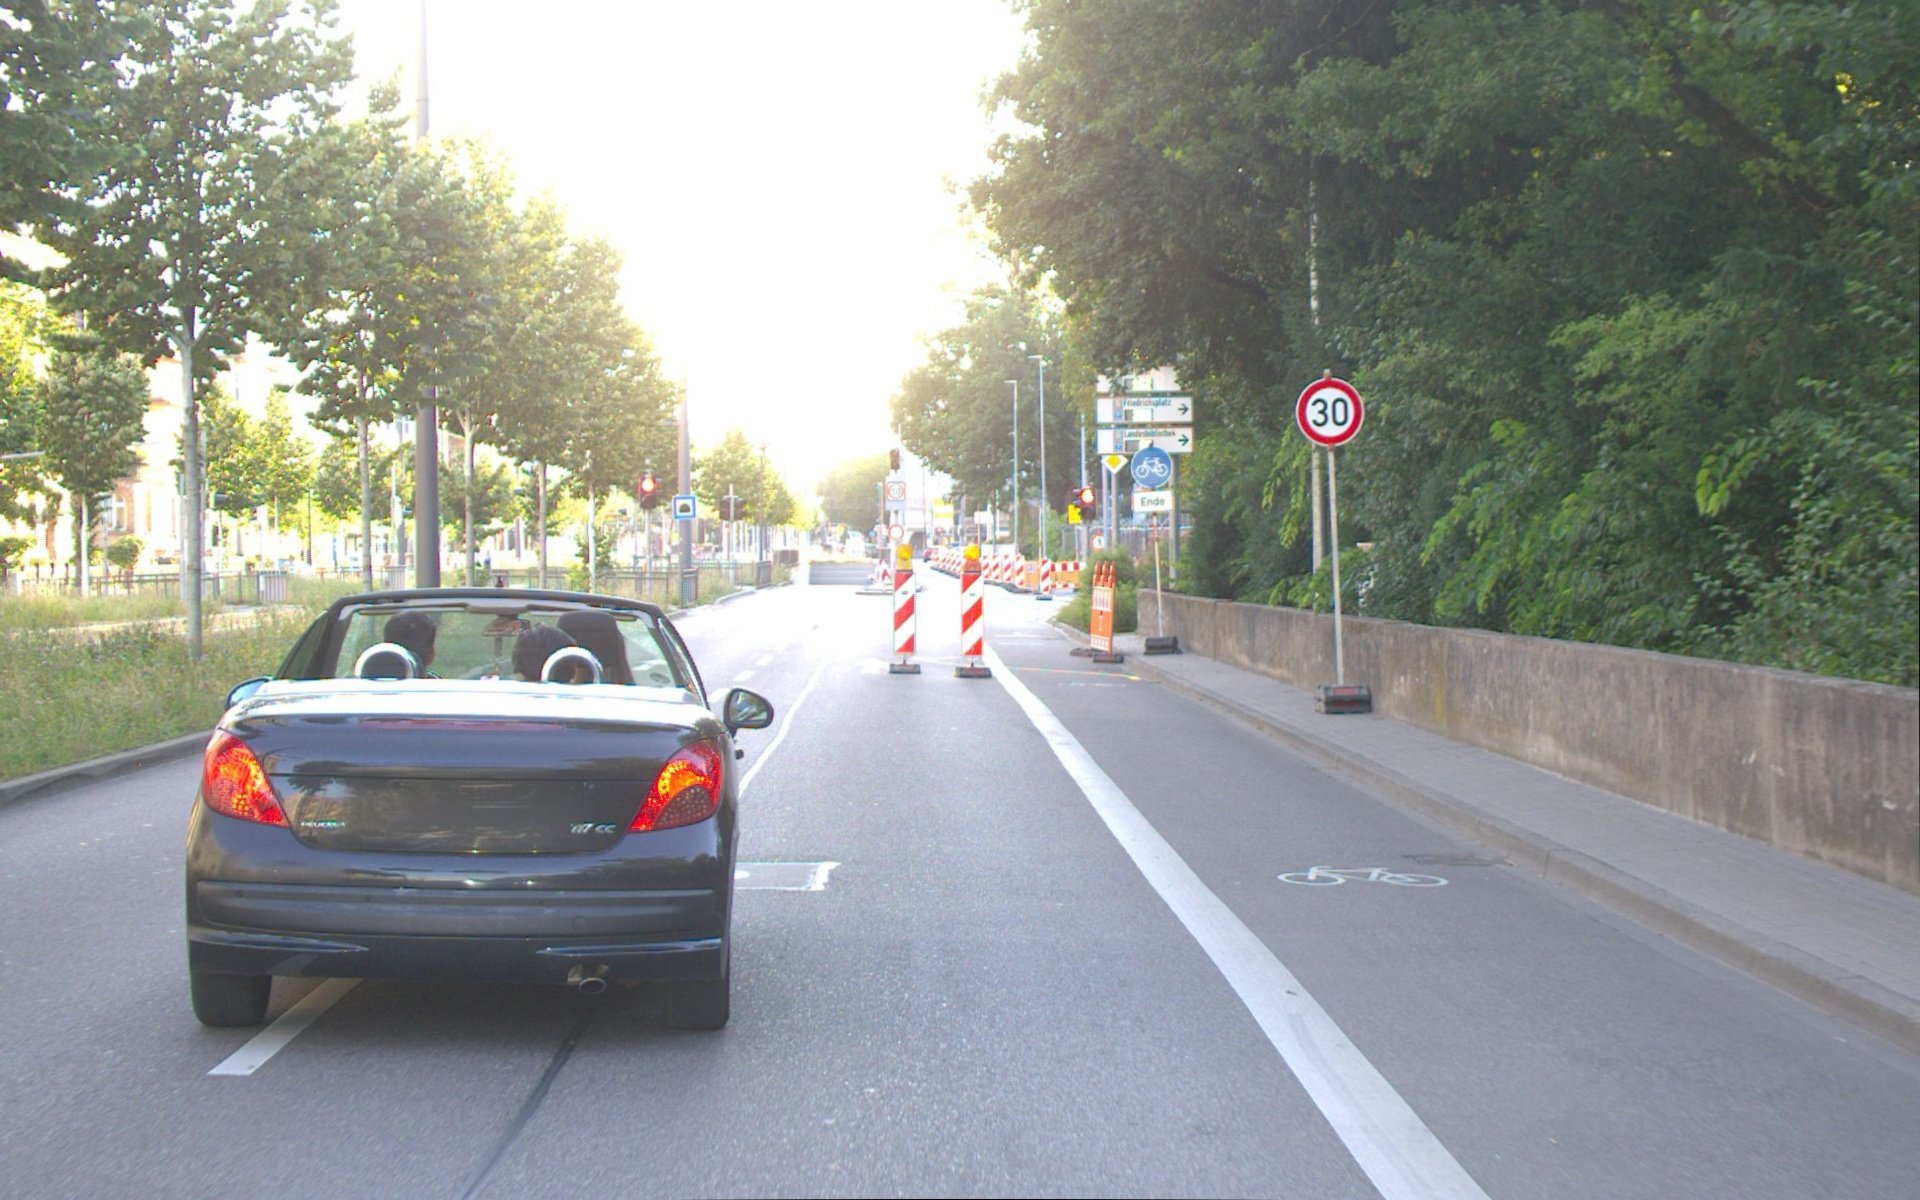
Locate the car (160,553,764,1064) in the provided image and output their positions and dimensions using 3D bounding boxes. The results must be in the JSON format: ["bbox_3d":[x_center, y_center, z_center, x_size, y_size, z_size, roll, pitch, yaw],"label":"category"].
[{"bbox_3d":[-1.717,0.585,11.917,1.718,1.444,3.902,1,1,-8],"label":"car"}]
